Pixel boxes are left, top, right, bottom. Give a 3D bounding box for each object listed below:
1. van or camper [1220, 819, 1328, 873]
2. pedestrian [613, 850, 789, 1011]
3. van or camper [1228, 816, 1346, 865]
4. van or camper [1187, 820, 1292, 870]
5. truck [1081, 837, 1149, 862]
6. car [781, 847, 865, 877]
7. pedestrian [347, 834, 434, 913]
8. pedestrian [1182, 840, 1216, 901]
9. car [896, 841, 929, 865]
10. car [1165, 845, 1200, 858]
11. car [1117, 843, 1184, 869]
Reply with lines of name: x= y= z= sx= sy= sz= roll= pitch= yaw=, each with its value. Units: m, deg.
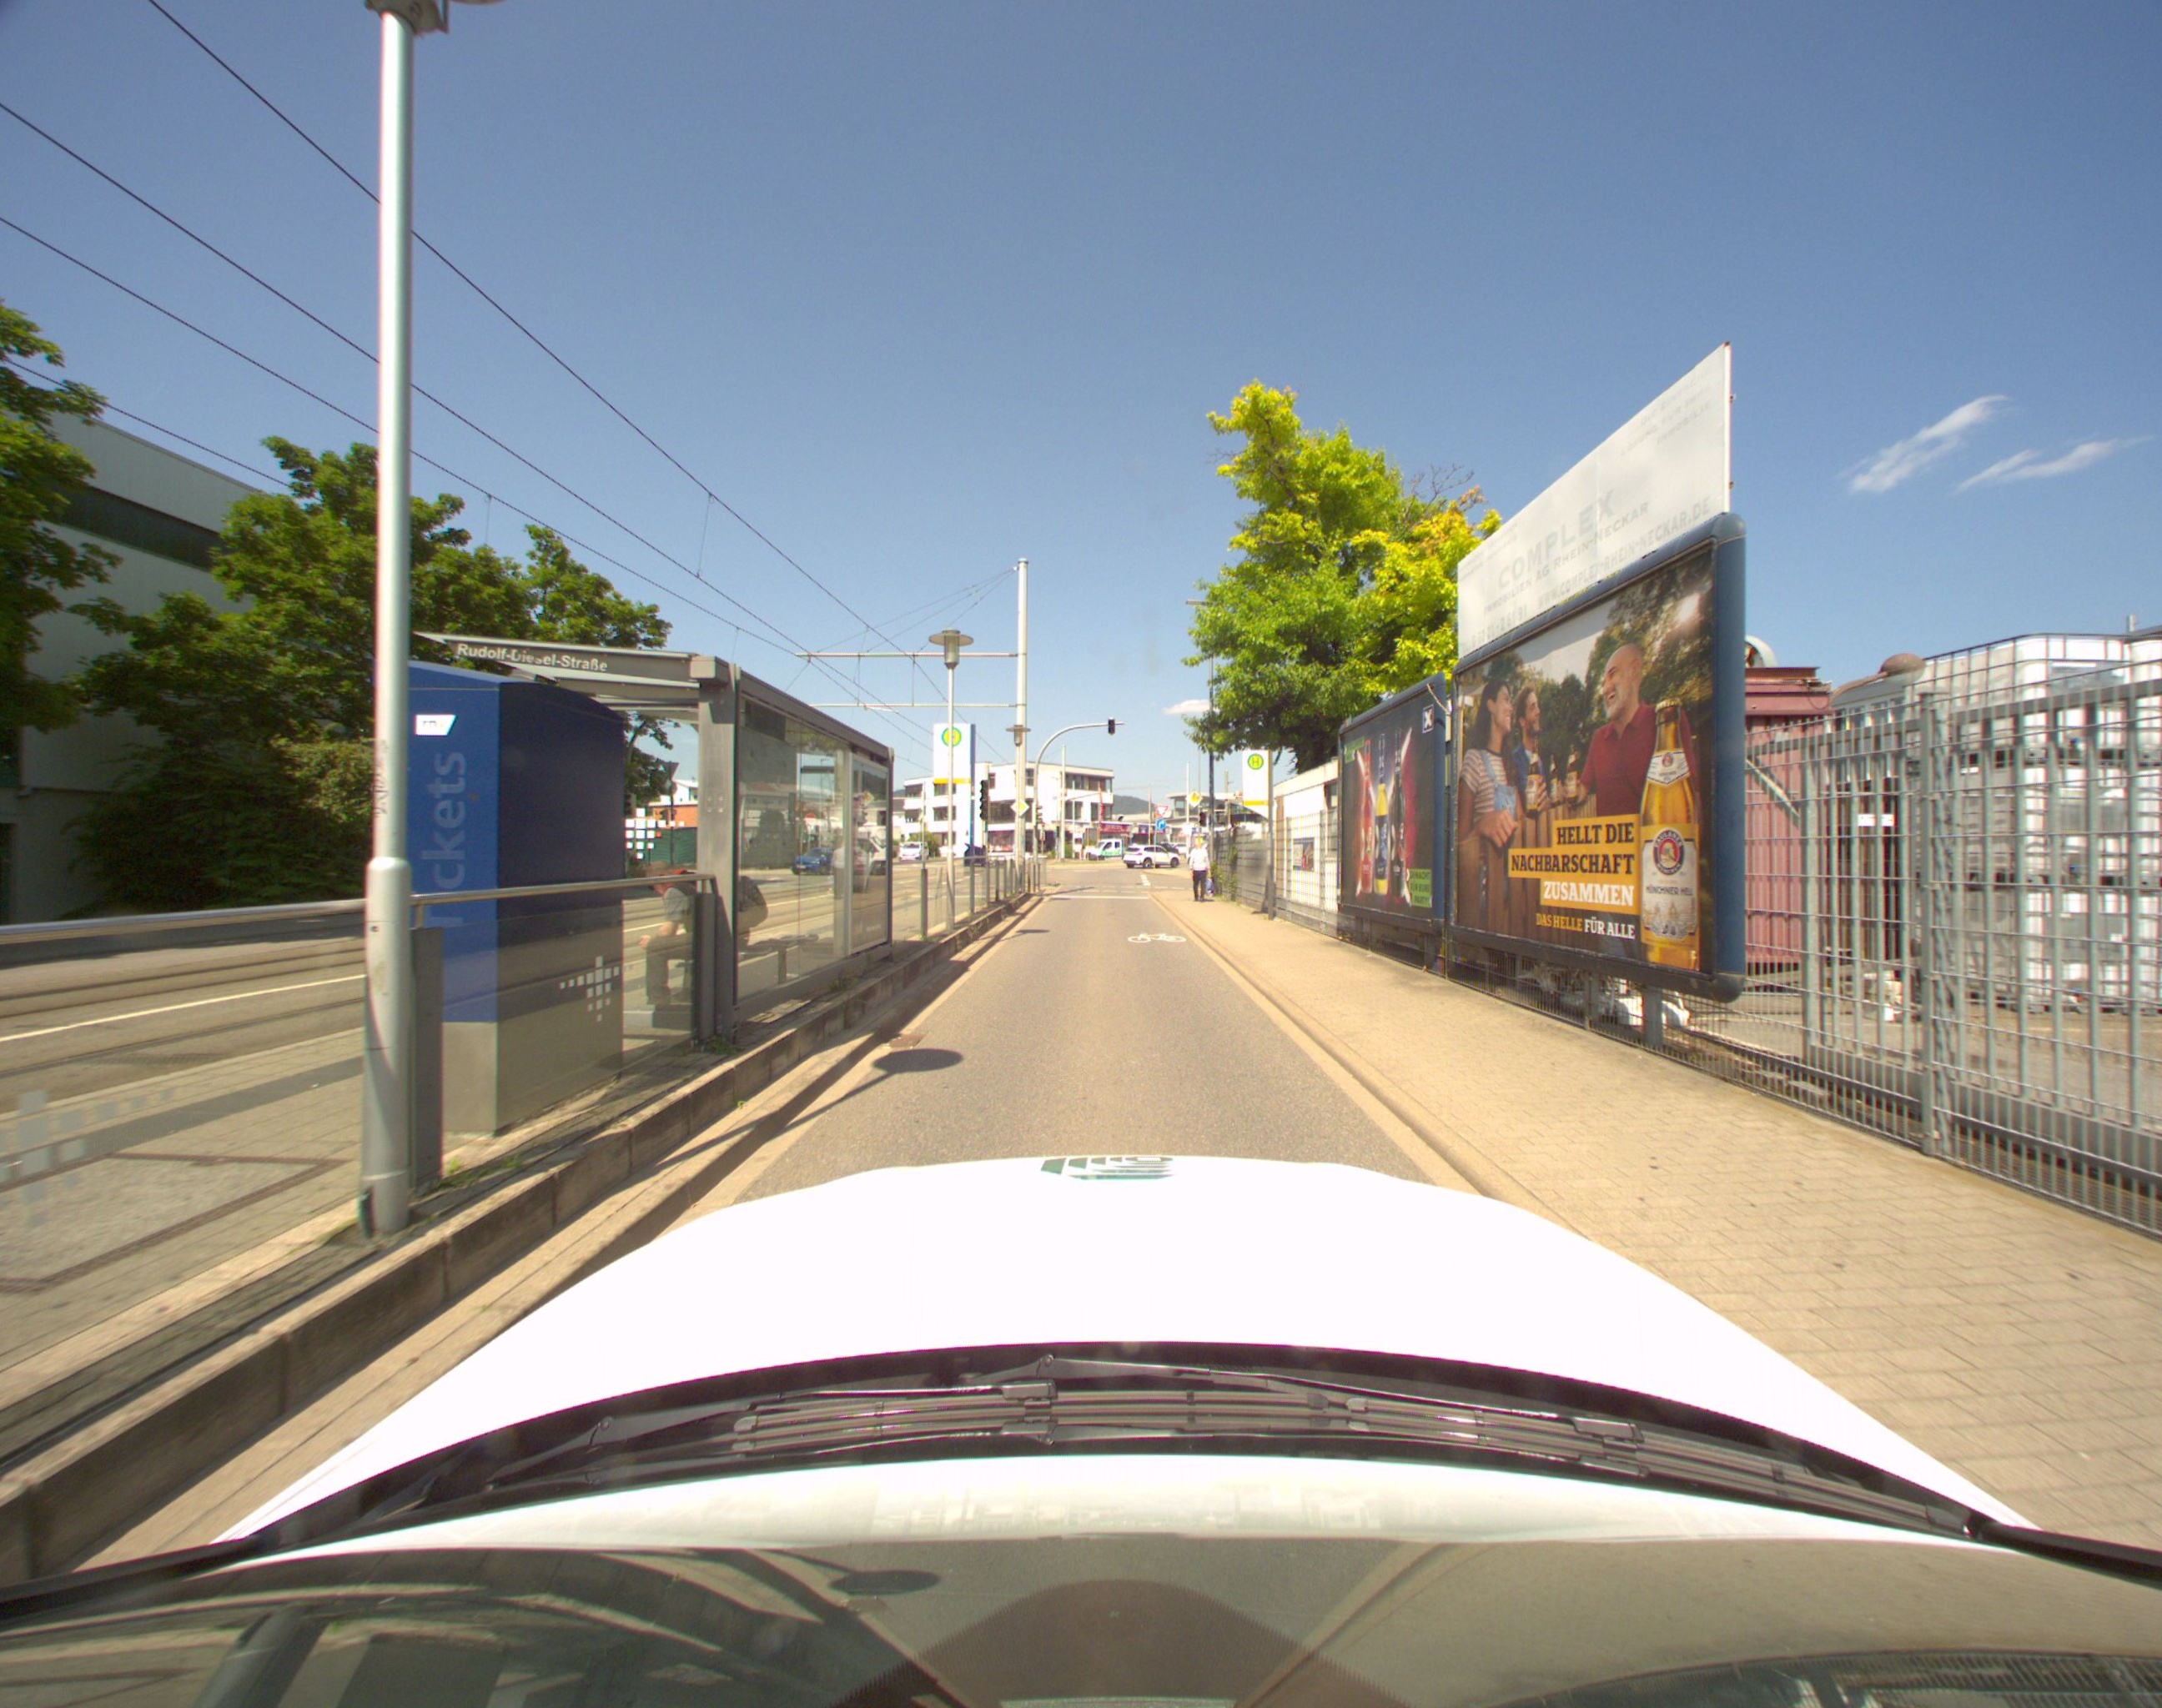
van or camper: x=10.422 y=-0.455 z=44.247 sx=5.479 sy=2.813 sz=2.052 roll=1 pitch=2 yaw=5
pedestrian: x=-2.779 y=0.528 z=6.034 sx=0.939 sy=1.099 sz=0.726 roll=1 pitch=1 yaw=0
van or camper: x=13.341 y=-0.861 z=53.024 sx=7.035 sy=2.946 sz=2.336 roll=-2 pitch=0 yaw=1
van or camper: x=9.083 y=-0.519 z=47.084 sx=5.784 sy=2.773 sz=2.093 roll=-1 pitch=1 yaw=4
truck: x=3.378 y=-0.428 z=80.261 sx=6.396 sy=2.337 sz=2.193 roll=0 pitch=0 yaw=-24
car: x=-13.857 y=0.376 z=43.993 sx=1.783 sy=1.537 sz=4.188 roll=0 pitch=0 yaw=30
pedestrian: x=-15.157 y=0.413 z=17.906 sx=0.883 sy=1.670 sz=1.160 roll=-1 pitch=0 yaw=1
pedestrian: x=3.324 y=0.450 z=23.067 sx=0.810 sy=1.699 sz=0.887 roll=-1 pitch=0 yaw=-1
car: x=-15.490 y=-0.071 z=75.250 sx=2.157 sy=2.014 sz=5.012 roll=1 pitch=-1 yaw=-3
car: x=13.405 y=-0.327 z=107.414 sx=1.863 sy=1.589 sz=4.957 roll=-2 pitch=-1 yaw=44
car: x=4.891 y=0.095 z=56.981 sx=4.587 sy=1.733 sz=1.977 roll=0 pitch=0 yaw=-40
